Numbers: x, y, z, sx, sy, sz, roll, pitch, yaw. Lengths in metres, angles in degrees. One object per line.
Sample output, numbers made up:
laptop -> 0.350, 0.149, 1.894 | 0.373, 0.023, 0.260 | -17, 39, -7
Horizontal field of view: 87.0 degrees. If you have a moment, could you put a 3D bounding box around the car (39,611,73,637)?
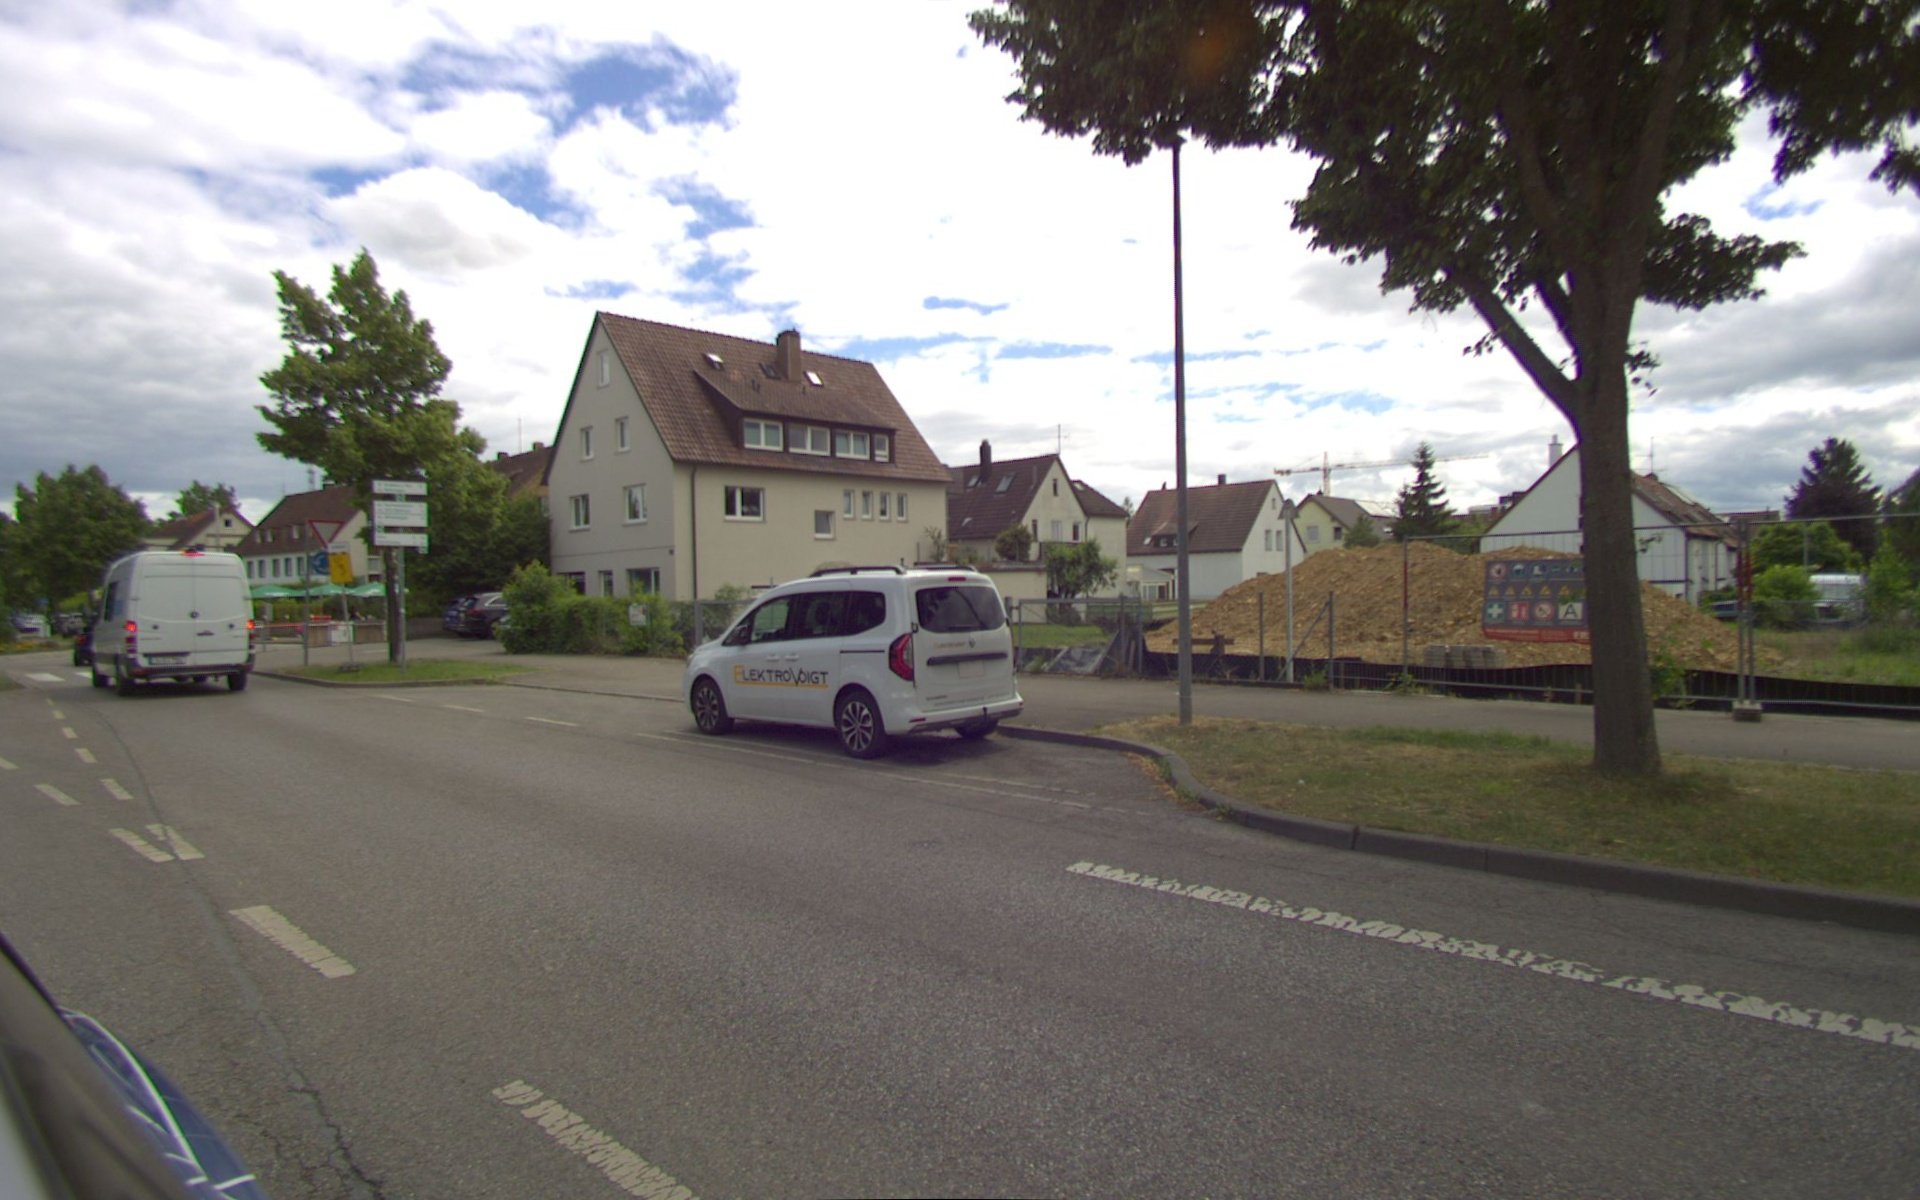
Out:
car -> -68.358, 1.807, 76.508 | 1.726, 1.843, 4.051 | -2, 0, -44

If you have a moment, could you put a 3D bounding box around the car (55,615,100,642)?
car -> -57.031, 1.843, 65.375 | 4.047, 1.648, 1.728 | -2, 0, 42

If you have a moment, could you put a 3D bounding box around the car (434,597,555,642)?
car -> -18.170, 0.709, 39.585 | 1.819, 1.547, 3.877 | 0, 2, 42

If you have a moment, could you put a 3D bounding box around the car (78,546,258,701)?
car -> -15.980, 0.445, 20.280 | 5.806, 2.694, 1.997 | -2, 0, 44

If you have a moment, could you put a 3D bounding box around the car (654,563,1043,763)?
car -> -1.415, 0.595, 11.234 | 4.552, 1.784, 1.751 | -2, 0, 44

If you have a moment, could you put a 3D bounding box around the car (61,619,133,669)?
car -> -26.364, 1.305, 30.880 | 1.554, 1.372, 3.747 | -1, 0, -42

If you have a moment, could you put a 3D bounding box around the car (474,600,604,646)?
car -> -14.903, 0.782, 35.975 | 1.746, 1.413, 3.877 | -1, 1, 42

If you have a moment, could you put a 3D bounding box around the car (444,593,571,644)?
car -> -16.766, 0.632, 37.597 | 3.872, 1.674, 1.857 | -3, 2, -44

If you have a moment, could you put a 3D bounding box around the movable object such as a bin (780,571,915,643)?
movable object such as a bin -> -3.702, 0.244, 32.868 | 4.359, 2.204, 1.877 | -1, 0, 40

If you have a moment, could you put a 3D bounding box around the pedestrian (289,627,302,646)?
pedestrian -> -34.442, 1.879, 52.447 | 0.422, 0.919, 0.341 | -3, 1, 3

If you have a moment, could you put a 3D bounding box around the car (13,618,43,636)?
car -> -84.239, 2.451, 91.438 | 3.745, 1.486, 1.644 | -2, 0, 41
